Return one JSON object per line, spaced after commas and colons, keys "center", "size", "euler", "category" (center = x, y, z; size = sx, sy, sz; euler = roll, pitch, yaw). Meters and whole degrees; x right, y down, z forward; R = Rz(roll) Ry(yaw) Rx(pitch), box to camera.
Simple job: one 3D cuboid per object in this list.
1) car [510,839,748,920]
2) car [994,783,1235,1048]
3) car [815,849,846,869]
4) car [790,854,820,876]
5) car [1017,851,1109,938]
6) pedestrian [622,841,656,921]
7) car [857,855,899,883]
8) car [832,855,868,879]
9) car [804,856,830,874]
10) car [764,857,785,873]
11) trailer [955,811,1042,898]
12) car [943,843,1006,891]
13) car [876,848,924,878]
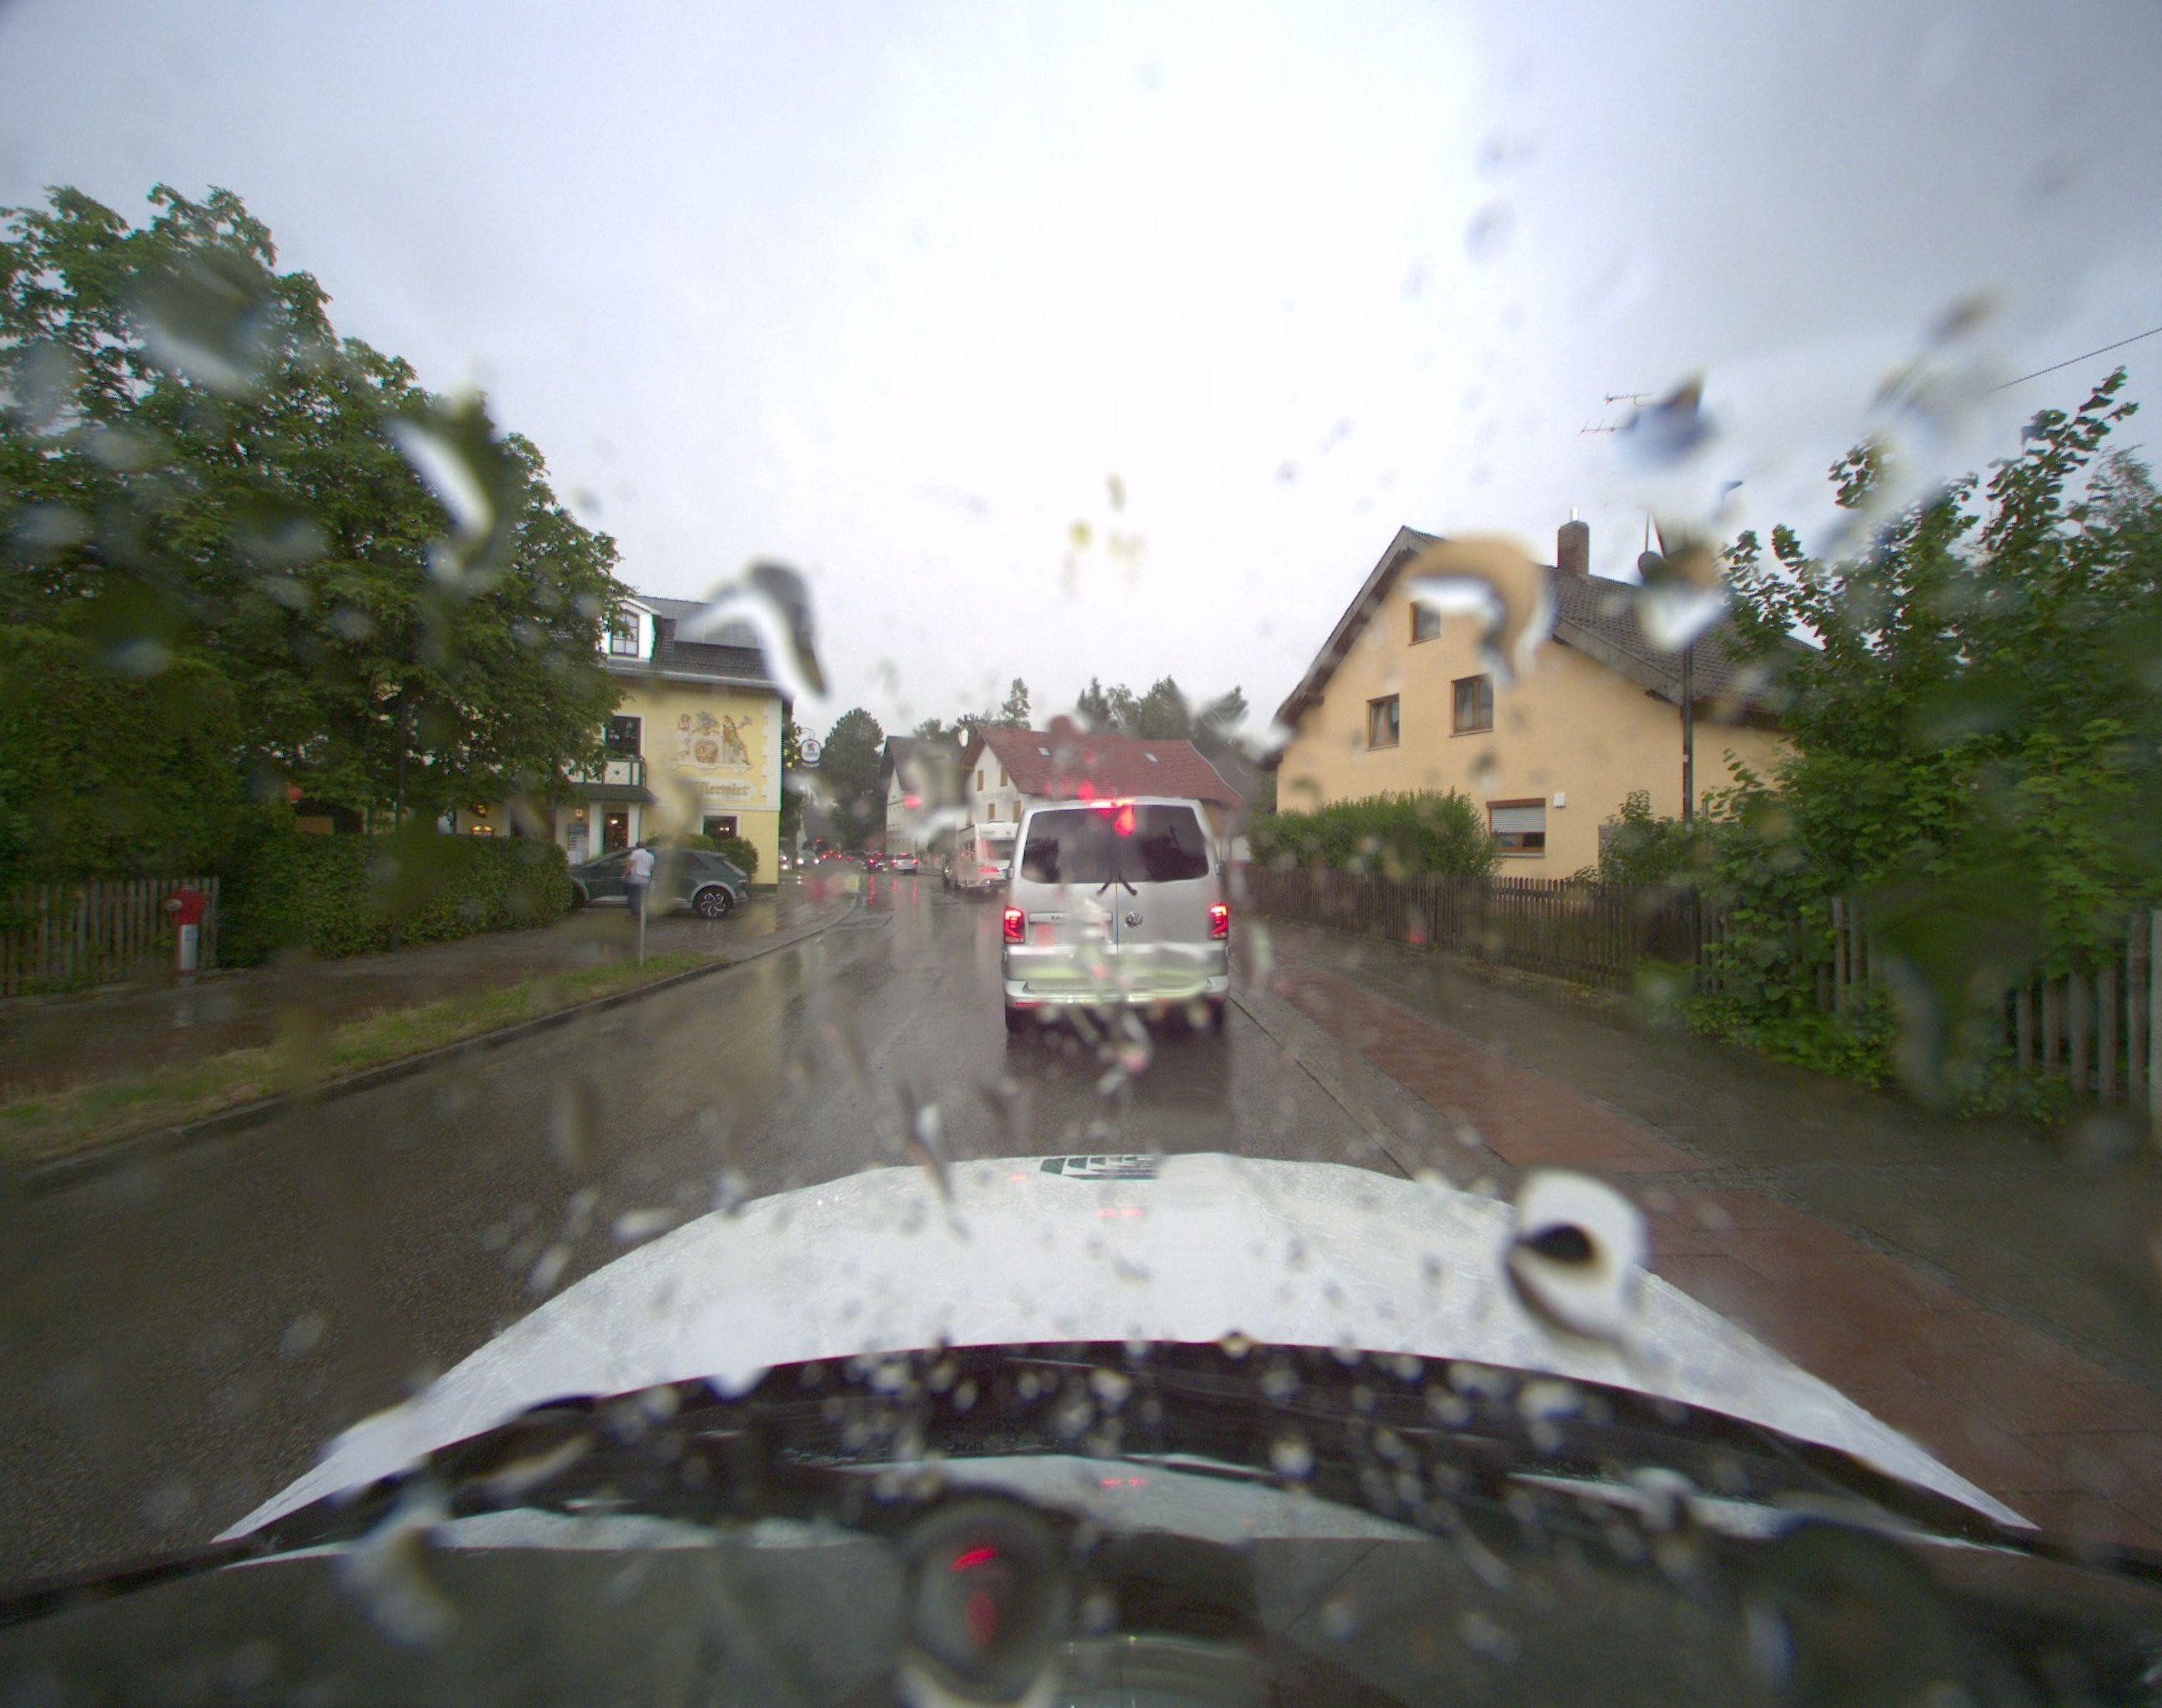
{"center": [-10.213, 0.592, 18.760], "size": [4.499, 1.567, 1.824], "euler": [4, 1, -27], "category": "car"}
{"center": [0.348, 0.468, 8.657], "size": [1.769, 1.962, 5.077], "euler": [-1, 0, 2], "category": "car"}
{"center": [-24.609, 0.456, 79.901], "size": [2.179, 1.899, 4.974], "euler": [1, 0, -25], "category": "car"}
{"center": [-23.940, 0.925, 70.555], "size": [1.932, 1.744, 4.157], "euler": [-1, 0, -25], "category": "car"}
{"center": [-0.530, 0.790, 18.456], "size": [1.706, 1.584, 4.677], "euler": [-2, 1, -5], "category": "car"}
{"center": [-9.566, 0.571, 17.621], "size": [0.555, 1.690, 0.488], "euler": [4, -1, -30], "category": "pedestrian"}
{"center": [-15.229, 1.081, 60.969], "size": [2.179, 1.899, 4.974], "euler": [1, 0, -25], "category": "car"}
{"center": [-19.750, 1.085, 69.534], "size": [2.179, 1.899, 4.974], "euler": [1, 0, -25], "category": "car"}
{"center": [-29.310, 1.218, 90.475], "size": [2.179, 1.899, 4.974], "euler": [1, 0, -25], "category": "car"}
{"center": [-33.685, 1.223, 89.386], "size": [1.762, 1.677, 3.966], "euler": [-1, 0, -26], "category": "car"}
{"center": [-3.196, 0.018, 30.226], "size": [2.275, 2.904, 6.101], "euler": [-1, 0, -15], "category": "trailer"}
{"center": [-4.752, 0.530, 35.652], "size": [2.057, 1.899, 5.149], "euler": [-1, 0, -15], "category": "car"}
{"center": [-12.312, 0.622, 55.254], "size": [2.179, 1.899, 4.973], "euler": [1, -1, -25], "category": "car"}
